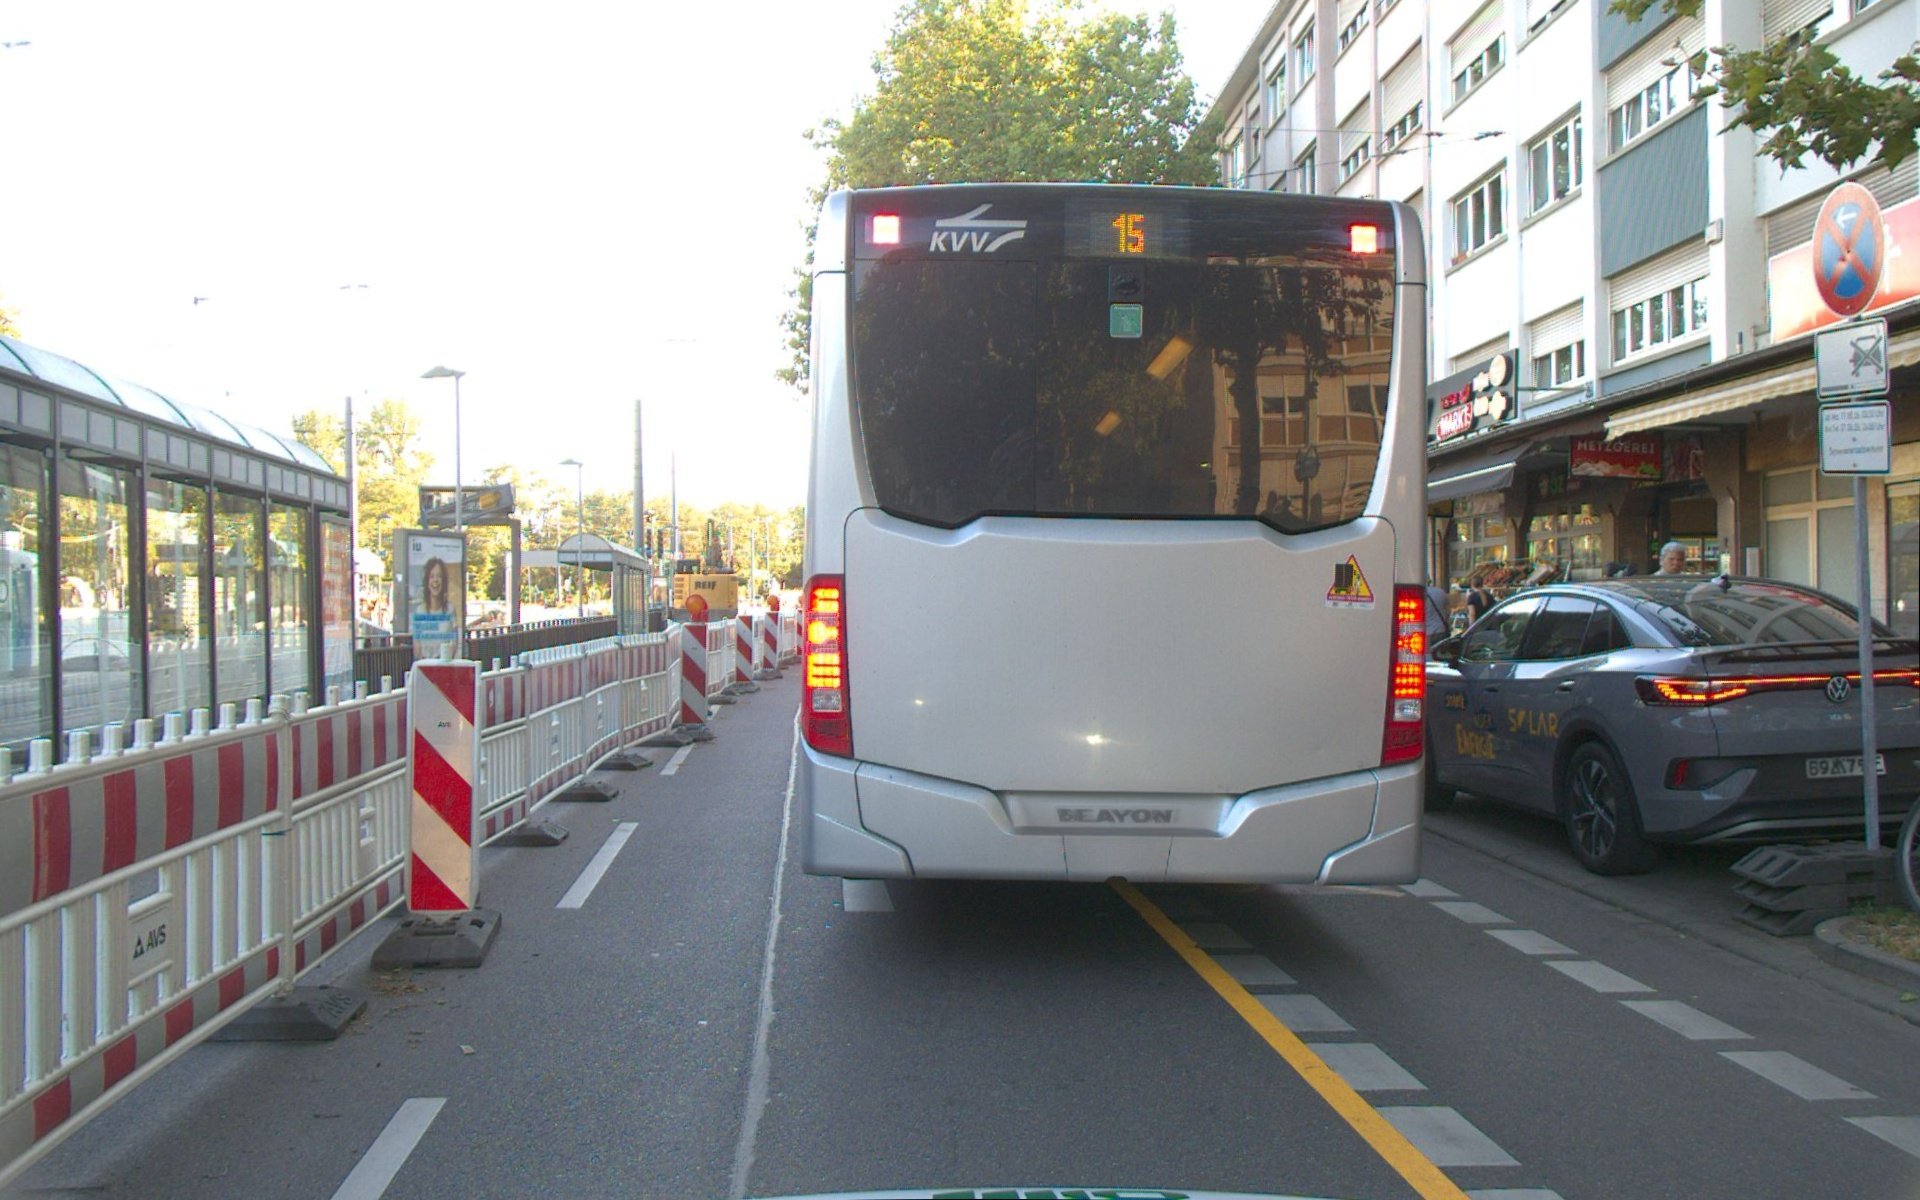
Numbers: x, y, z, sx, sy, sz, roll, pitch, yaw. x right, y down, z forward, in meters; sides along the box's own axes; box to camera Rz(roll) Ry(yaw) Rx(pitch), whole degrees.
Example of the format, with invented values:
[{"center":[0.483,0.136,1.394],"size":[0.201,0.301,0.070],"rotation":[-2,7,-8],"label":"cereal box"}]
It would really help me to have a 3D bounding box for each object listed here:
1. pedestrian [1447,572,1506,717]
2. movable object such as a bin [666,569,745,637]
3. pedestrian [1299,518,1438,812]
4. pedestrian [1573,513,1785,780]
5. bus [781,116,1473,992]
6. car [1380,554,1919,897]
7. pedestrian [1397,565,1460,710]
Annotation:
[{"center":[7.408,0.626,23.757],"size":[0.600,2.049,0.696],"rotation":[-1,0,-1],"label":"pedestrian"},{"center":[-9.708,0.094,63.515],"size":[2.752,2.505,3.995],"rotation":[-1,0,-6],"label":"movable object such as a bin"},{"center":[2.958,0.457,12.037],"size":[0.754,2.049,0.713],"rotation":[-2,0,-2],"label":"pedestrian"},{"center":[5.504,0.337,12.689],"size":[1.013,1.923,1.109],"rotation":[0,-1,-34],"label":"pedestrian"},{"center":[0.579,-0.184,11.254],"size":[2.555,3.225,10.290],"rotation":[0,0,-1],"label":"bus"},{"center":[4.232,0.607,10.354],"size":[1.706,1.625,4.294],"rotation":[-3,0,-5],"label":"car"},{"center":[6.722,0.529,23.732],"size":[0.677,2.049,0.696],"rotation":[-1,0,-1],"label":"pedestrian"}]
